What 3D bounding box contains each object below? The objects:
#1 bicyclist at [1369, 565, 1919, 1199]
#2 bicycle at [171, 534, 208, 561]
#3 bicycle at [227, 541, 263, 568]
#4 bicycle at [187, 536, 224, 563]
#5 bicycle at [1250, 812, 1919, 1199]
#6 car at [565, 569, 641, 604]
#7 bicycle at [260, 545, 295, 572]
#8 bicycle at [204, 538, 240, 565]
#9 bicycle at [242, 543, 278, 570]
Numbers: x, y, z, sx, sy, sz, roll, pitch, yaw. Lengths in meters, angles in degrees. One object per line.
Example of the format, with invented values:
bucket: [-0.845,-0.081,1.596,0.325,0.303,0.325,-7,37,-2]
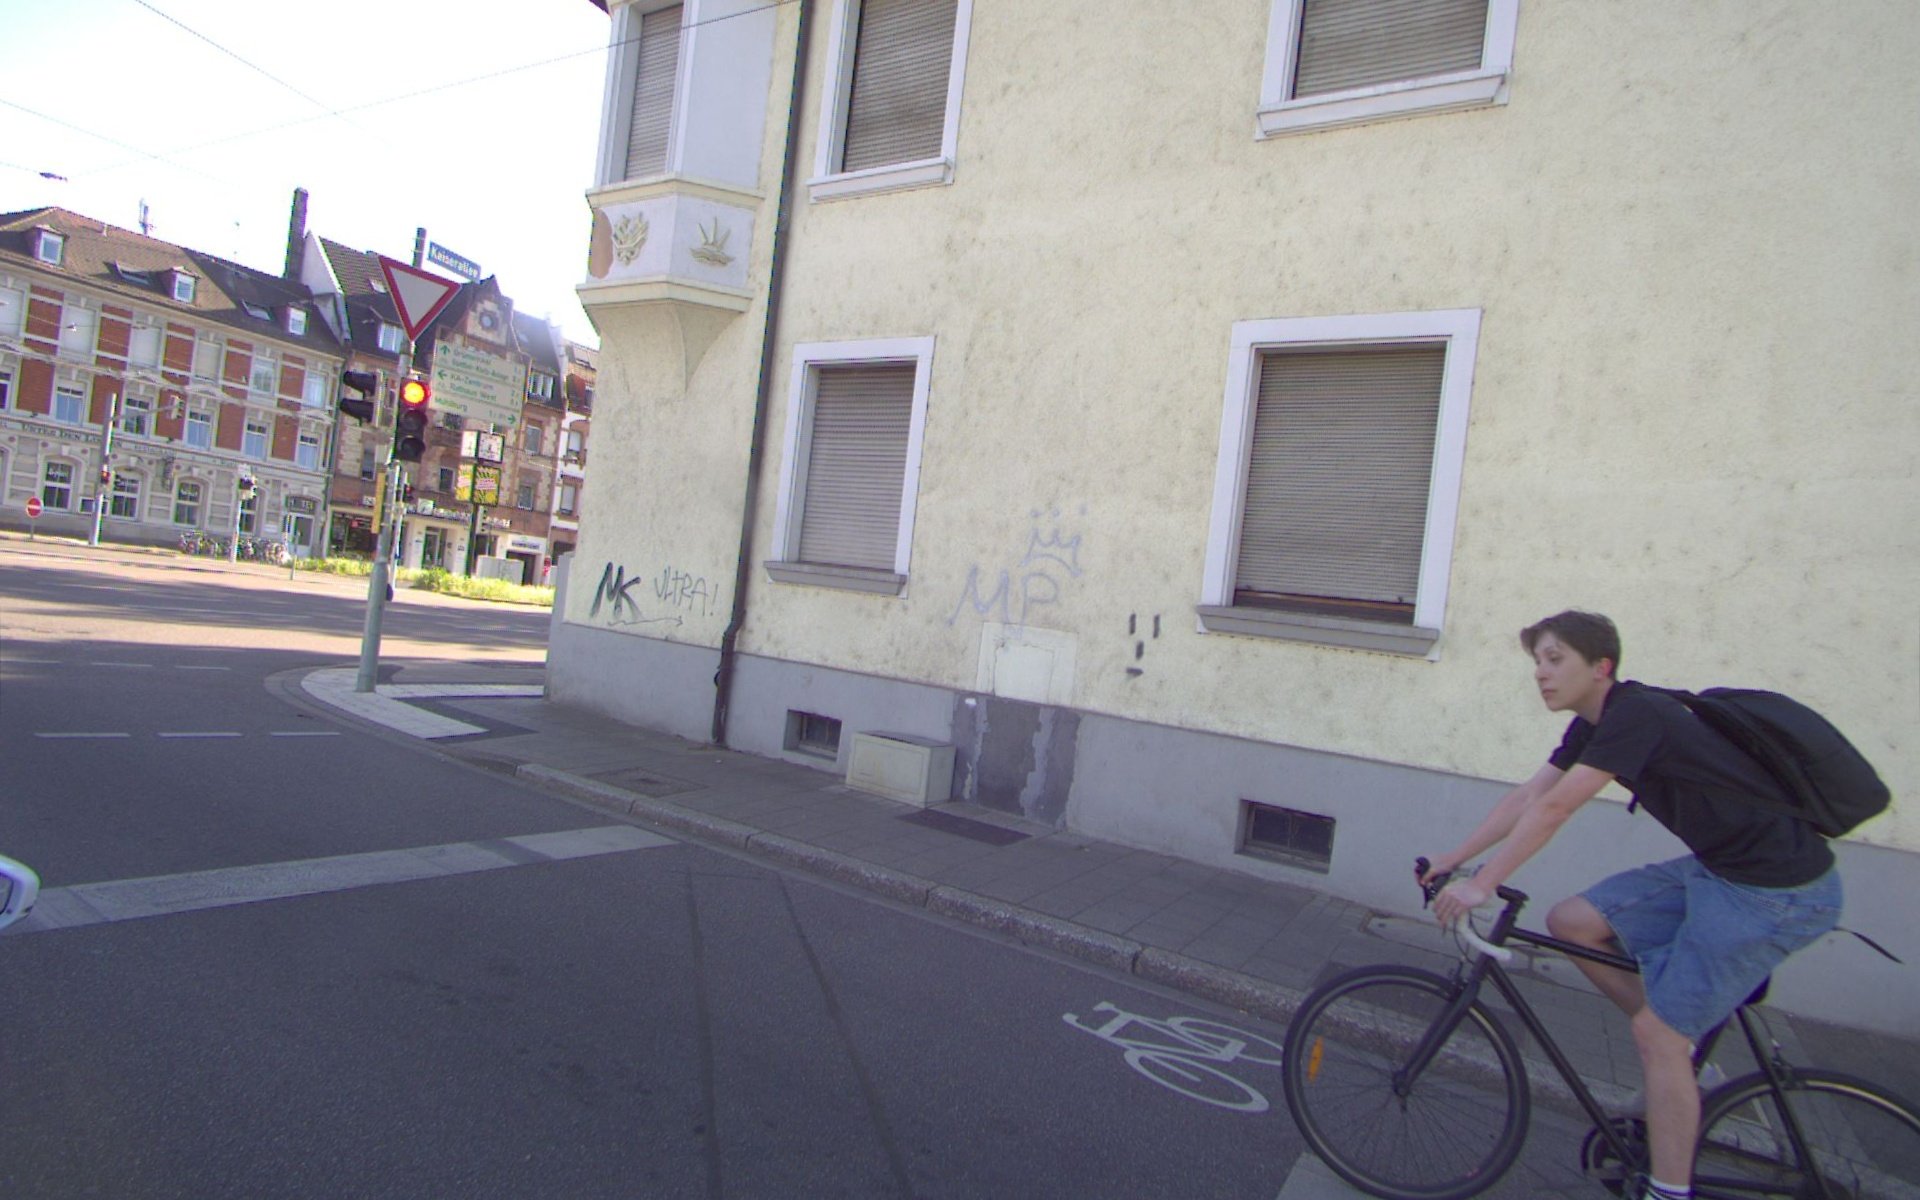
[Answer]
bicyclist: [1.811,0.853,2.768,1.065,1.751,0.561,7,-1,26]
bicycle: [-34.946,-2.380,45.608,1.614,1.064,0.606,7,0,27]
bicycle: [-33.650,-2.139,47.336,1.614,1.064,0.606,7,0,27]
bicycle: [-34.646,-2.317,46.190,1.614,1.064,0.606,7,0,27]
bicycle: [1.781,1.295,2.758,1.727,1.029,0.533,7,0,26]
car: [-23.124,-0.844,65.304,1.966,1.674,4.378,7,-1,29]
bicycle: [-32.981,-2.001,48.584,1.614,1.064,0.606,7,0,27]
bicycle: [-34.316,-2.250,46.766,1.614,1.064,0.606,7,0,27]
bicycle: [-33.356,-2.076,47.946,1.614,1.064,0.606,7,0,27]
